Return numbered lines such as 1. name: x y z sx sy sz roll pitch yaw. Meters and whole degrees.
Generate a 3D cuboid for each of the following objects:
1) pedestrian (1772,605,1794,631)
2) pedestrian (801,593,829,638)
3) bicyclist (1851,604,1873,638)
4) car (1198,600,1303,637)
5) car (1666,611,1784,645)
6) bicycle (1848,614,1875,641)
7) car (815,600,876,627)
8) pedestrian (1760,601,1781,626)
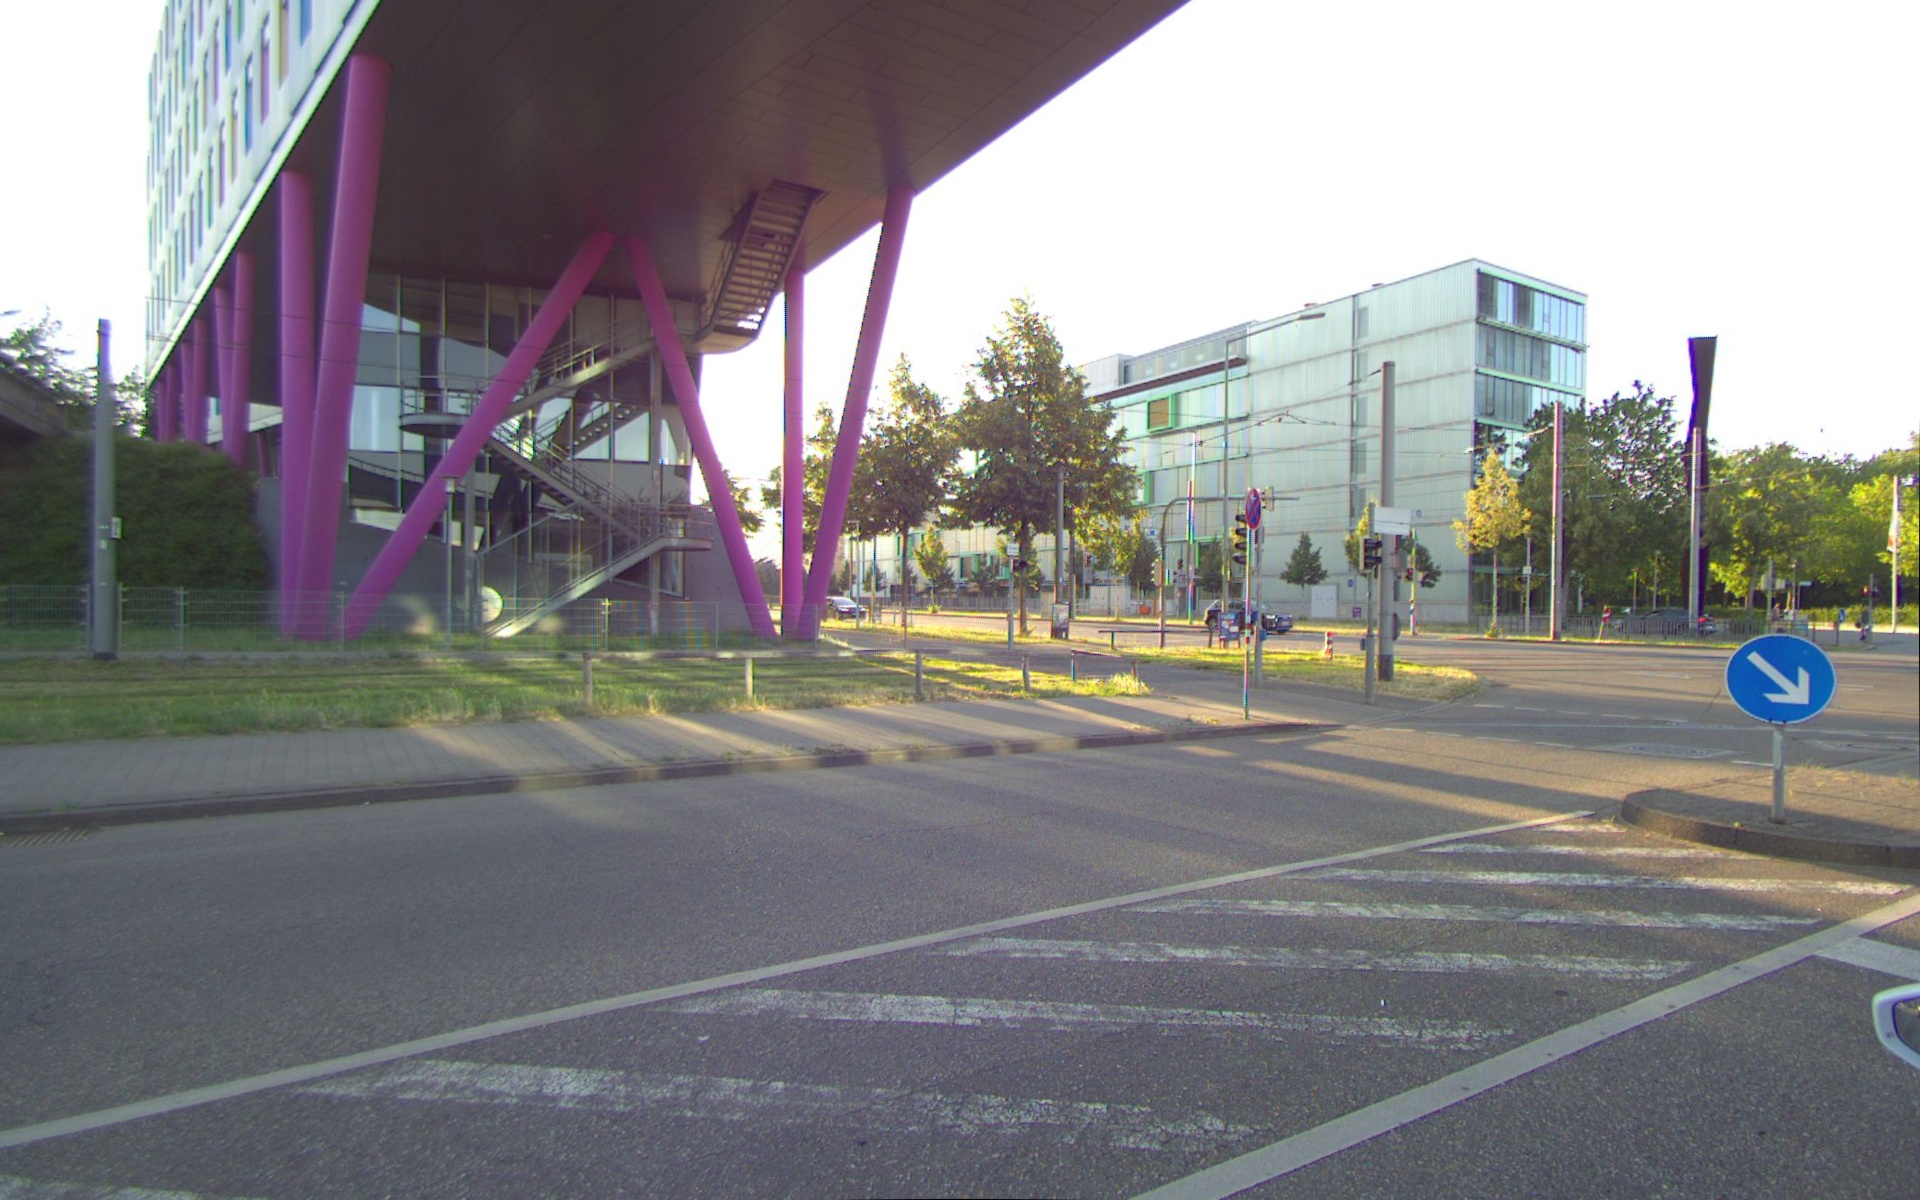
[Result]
1. pedestrian: 58.230 1.261 71.050 0.814 1.767 0.863 1 0 1
2. pedestrian: -5.658 0.611 39.187 0.919 1.747 0.878 1 -2 -22
3. bicyclist: 46.456 1.072 51.711 0.913 1.732 0.743 1 0 -43
4. car: 13.293 0.804 46.198 1.968 1.577 4.448 1 0 -34
5. car: 37.788 1.362 49.730 1.782 1.516 4.314 2 -1 -28
6. bicycle: 46.487 1.407 51.793 2.670 1.359 0.723 1 0 -42
7. car: -7.378 0.817 64.259 1.978 1.636 4.880 1 0 -32
8. pedestrian: 57.330 0.928 71.055 0.814 1.767 0.863 1 0 1
